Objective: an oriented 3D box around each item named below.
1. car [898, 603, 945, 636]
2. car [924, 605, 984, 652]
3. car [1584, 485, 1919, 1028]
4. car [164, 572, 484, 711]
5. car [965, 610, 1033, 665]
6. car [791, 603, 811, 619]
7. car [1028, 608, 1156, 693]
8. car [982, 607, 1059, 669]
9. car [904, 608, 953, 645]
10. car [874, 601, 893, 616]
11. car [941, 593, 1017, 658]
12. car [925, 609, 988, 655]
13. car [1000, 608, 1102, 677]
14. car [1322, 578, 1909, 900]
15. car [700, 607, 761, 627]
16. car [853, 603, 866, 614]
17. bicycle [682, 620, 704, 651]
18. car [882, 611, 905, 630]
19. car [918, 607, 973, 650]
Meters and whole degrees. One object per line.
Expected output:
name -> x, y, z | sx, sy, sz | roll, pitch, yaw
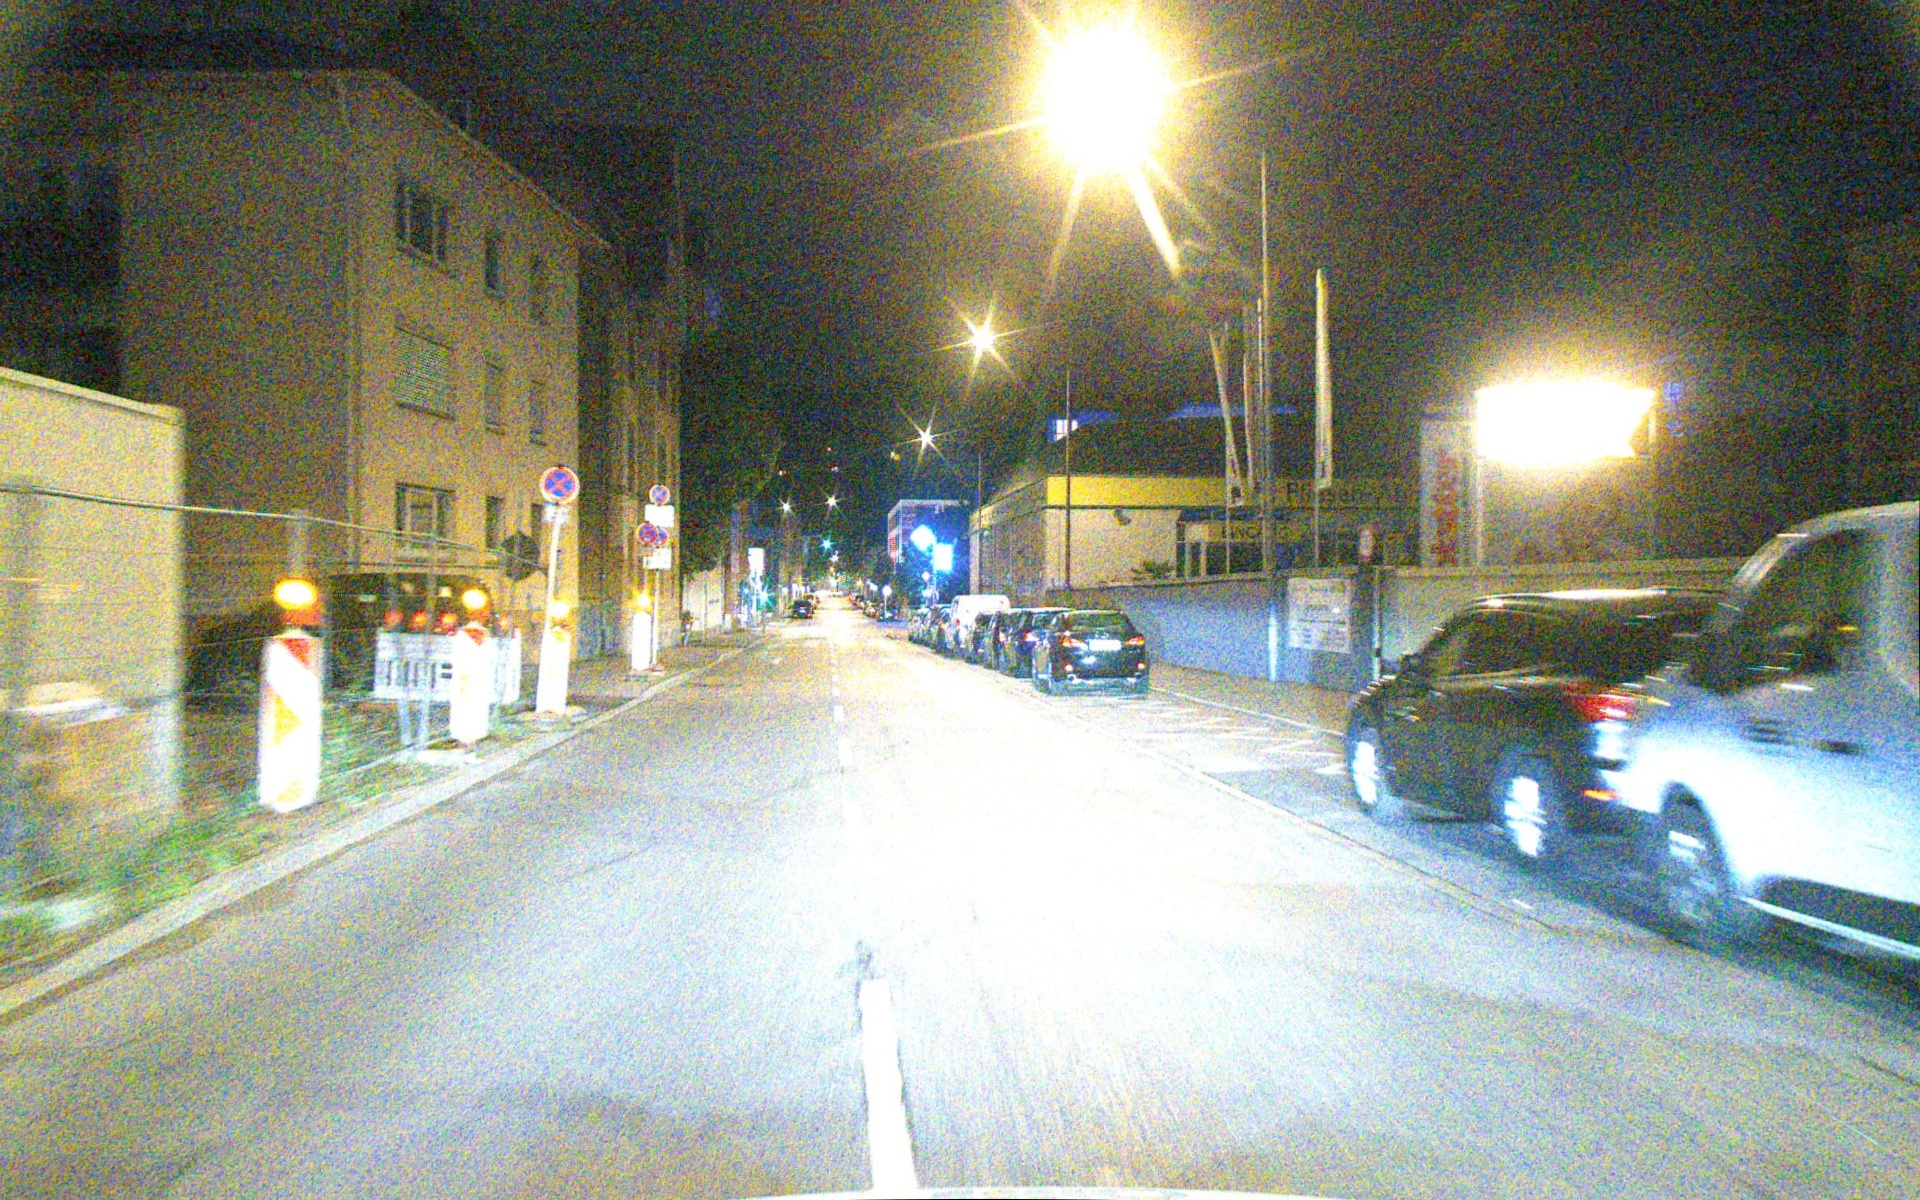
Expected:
car -> -1.877, 0.941, 79.006 | 1.824, 1.515, 4.539 | 0, -1, -7
car -> -0.274, 1.033, 62.310 | 1.788, 1.616, 4.623 | -1, 0, -6
car -> 4.475, 0.535, 5.915 | 2.032, 1.962, 5.365 | -2, -1, -5
car -> -9.217, 0.594, 24.144 | 3.902, 1.922, 1.910 | 0, -1, 8
car -> 1.066, 1.040, 46.753 | 1.563, 1.492, 3.888 | 0, -1, -4
car -> -15.798, 1.110, 164.722 | 1.954, 1.528, 3.996 | 0, -1, -5
car -> 2.347, 0.884, 30.445 | 1.743, 1.451, 4.477 | 0, -1, -4
car -> 1.503, 0.949, 42.122 | 1.563, 1.492, 3.715 | 0, -1, -4
car -> -1.435, 1.148, 73.077 | 1.741, 1.571, 4.539 | 0, -1, -7
car -> -7.883, 0.893, 170.601 | 1.954, 1.547, 3.997 | 0, -1, -3
car -> 0.546, 0.776, 52.422 | 1.766, 1.908, 4.766 | -2, 0, -7
car -> -0.151, 1.084, 57.224 | 1.781, 1.452, 4.184 | -2, 0, -5
car -> 1.976, 0.924, 37.032 | 1.744, 1.451, 3.887 | 0, -1, -5
car -> 4.012, 0.762, 11.009 | 1.785, 1.627, 4.214 | -3, 0, -7
car -> -16.823, 1.271, 121.462 | 4.352, 1.475, 1.998 | 0, -1, -5
car -> -14.734, 1.240, 242.534 | 1.954, 1.547, 3.997 | 0, -1, -3
bicycle -> -9.500, 1.265, 58.963 | 0.607, 1.070, 1.720 | 0, -1, -4
car -> -5.934, 1.818, 147.097 | 1.954, 1.543, 3.998 | 1, 0, -3
car -> -0.627, 1.133, 67.372 | 1.789, 1.651, 4.451 | -1, 0, -7
